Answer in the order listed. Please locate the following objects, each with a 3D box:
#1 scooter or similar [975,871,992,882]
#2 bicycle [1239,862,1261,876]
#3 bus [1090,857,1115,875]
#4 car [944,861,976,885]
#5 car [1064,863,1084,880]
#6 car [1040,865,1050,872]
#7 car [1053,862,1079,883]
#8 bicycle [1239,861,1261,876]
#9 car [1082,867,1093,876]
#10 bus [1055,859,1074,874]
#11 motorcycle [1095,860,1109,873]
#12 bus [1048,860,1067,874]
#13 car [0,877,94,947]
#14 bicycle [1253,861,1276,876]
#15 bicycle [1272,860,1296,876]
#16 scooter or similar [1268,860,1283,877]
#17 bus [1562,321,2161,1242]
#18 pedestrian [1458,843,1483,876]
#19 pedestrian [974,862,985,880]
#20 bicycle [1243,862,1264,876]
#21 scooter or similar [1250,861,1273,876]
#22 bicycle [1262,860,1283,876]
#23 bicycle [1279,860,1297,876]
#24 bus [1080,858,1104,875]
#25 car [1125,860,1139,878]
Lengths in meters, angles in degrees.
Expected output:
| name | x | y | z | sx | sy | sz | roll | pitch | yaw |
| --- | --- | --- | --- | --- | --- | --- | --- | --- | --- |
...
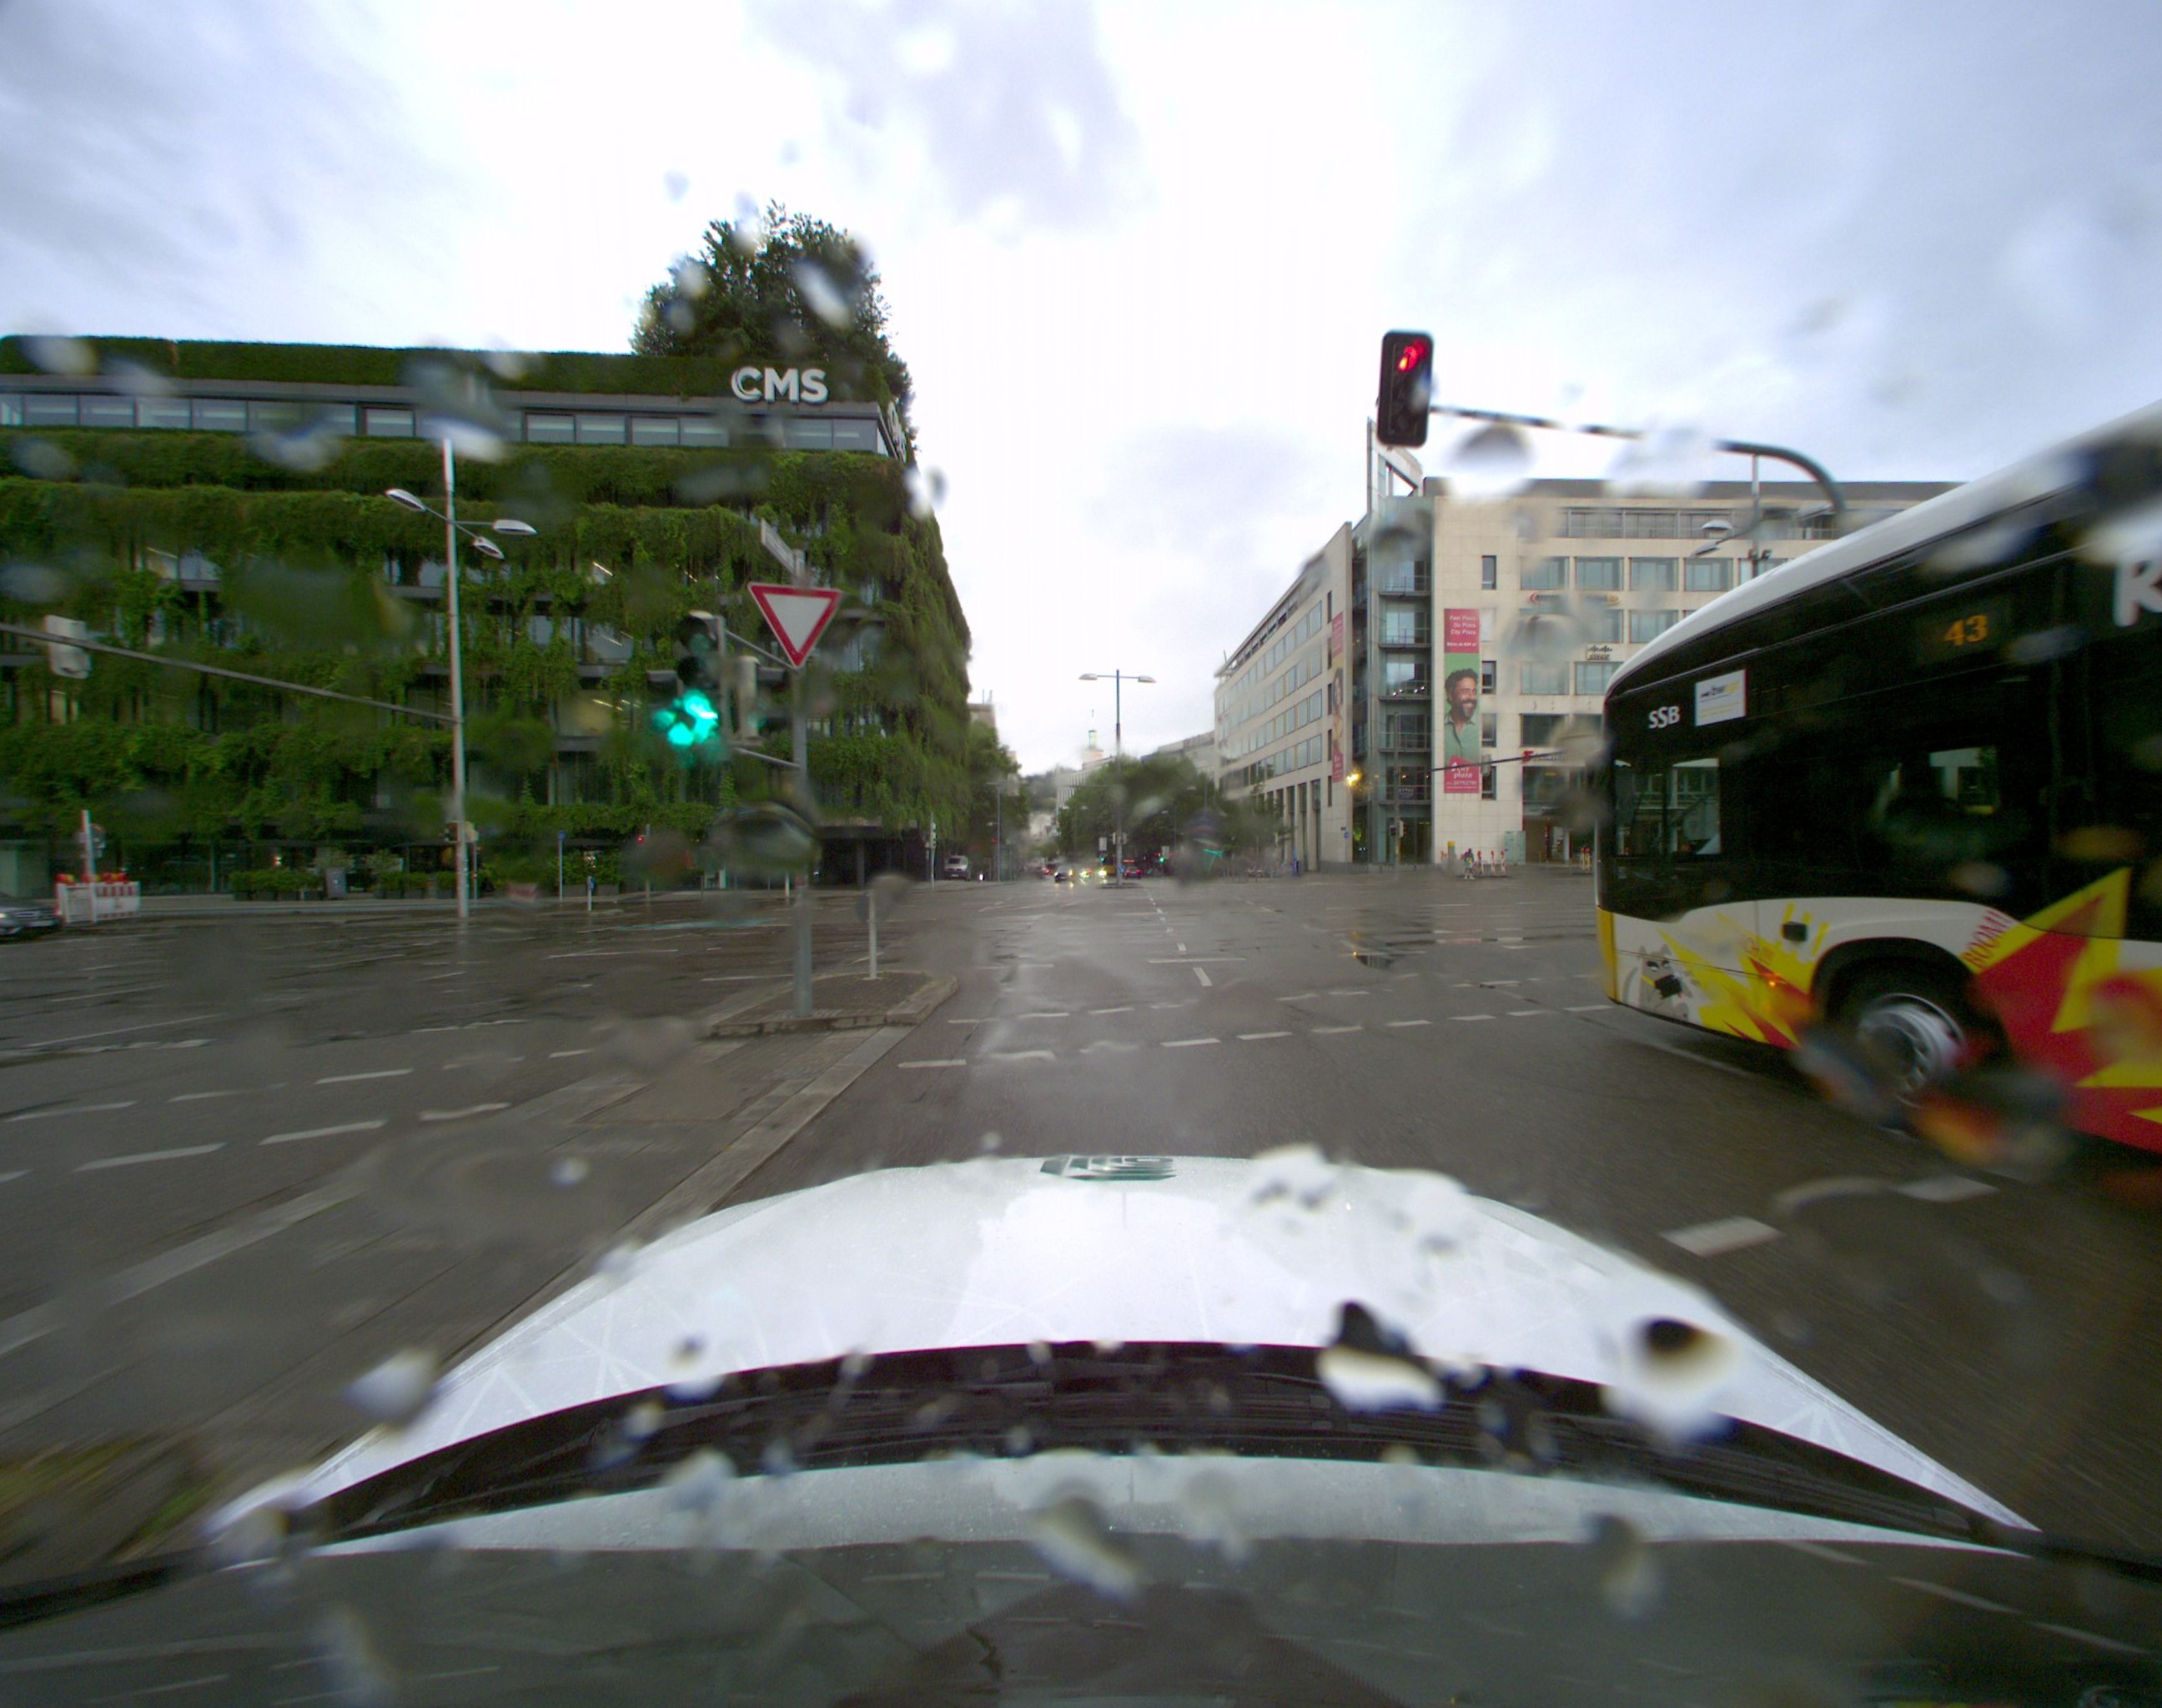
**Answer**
| name | x | y | z | sx | sy | sz | roll | pitch | yaw |
| --- | --- | --- | --- | --- | --- | --- | --- | --- | --- |
| scooter or similar | -9.458 | 2.217 | 79.158 | 0.616 | 1.004 | 1.671 | -2 | -1 | 40 |
| bicycle | 14.429 | 1.254 | 69.433 | 1.770 | 1.194 | 0.587 | -1 | -1 | 3 |
| bus | 3.707 | 2.164 | 142.288 | 2.631 | 2.995 | 7.414 | -1 | -1 | -13 |
| car | -9.604 | 1.521 | 64.951 | 1.863 | 1.839 | 4.001 | -1 | -1 | 2 |
| car | -0.753 | 1.943 | 88.981 | 2.158 | 1.765 | 5.109 | -1 | -1 | -1 |
| car | -7.965 | 3.259 | 179.350 | 1.775 | 1.508 | 4.001 | -1 | -1 | 2 |
| car | -1.291 | 1.590 | 70.847 | 2.158 | 1.765 | 5.109 | -1 | -1 | -1 |
| bicycle | 14.253 | 1.244 | 68.802 | 1.770 | 1.194 | 0.587 | -1 | -1 | 3 |
| car | 1.151 | 3.078 | 142.320 | 1.775 | 1.508 | 4.001 | -1 | -1 | 2 |
| bus | -3.490 | 2.653 | 169.775 | 2.631 | 2.995 | 7.293 | -1 | -1 | -13 |
| motorcycle | 2.487 | 1.454 | 97.340 | 1.547 | 1.515 | 4.382 | -1 | -1 | -1 |
| bus | -5.180 | 2.752 | 176.918 | 2.631 | 2.995 | 7.414 | -1 | -1 | -13 |
| car | -26.213 | 1.347 | 18.300 | 4.901 | 1.488 | 1.924 | -1 | -1 | -15 |
| bicycle | 15.243 | 1.208 | 67.608 | 1.770 | 1.194 | 0.587 | -1 | -1 | 3 |
| bicycle | 15.149 | 1.071 | 60.845 | 1.607 | 1.194 | 0.590 | -1 | -2 | 27 |
| scooter or similar | 14.368 | 1.066 | 60.180 | 0.951 | 1.194 | 0.458 | -2 | -2 | 42 |
| bus | 5.456 | -0.298 | 2.121 | 2.872 | 3.451 | 9.760 | -1 | -1 | 2 |
| pedestrian | 21.820 | 0.337 | 45.650 | 0.958 | 1.817 | 0.836 | -1 | -1 | 1 |
| pedestrian | -9.119 | 1.544 | 73.125 | 0.930 | 1.644 | 0.774 | -1 | -1 | 1 |
| bicycle | 14.896 | 1.267 | 70.339 | 1.770 | 1.194 | 0.587 | -1 | -1 | 3 |
| scooter or similar | 14.862 | 1.200 | 66.995 | 1.770 | 1.194 | 0.587 | -1 | -1 | 3 |
| bicycle | 14.678 | 1.108 | 62.410 | 0.588 | 1.194 | 1.768 | 0 | -1 | -26 |
| bicycle | 16.002 | 1.104 | 62.935 | 0.579 | 1.194 | 1.794 | -2 | -2 | 40 |
| bus | 2.021 | 2.279 | 149.481 | 2.631 | 2.995 | 7.414 | -1 | -1 | -13 |
| car | 5.989 | 1.786 | 96.149 | 1.537 | 2.014 | 4.671 | -1 | -1 | 3 |
